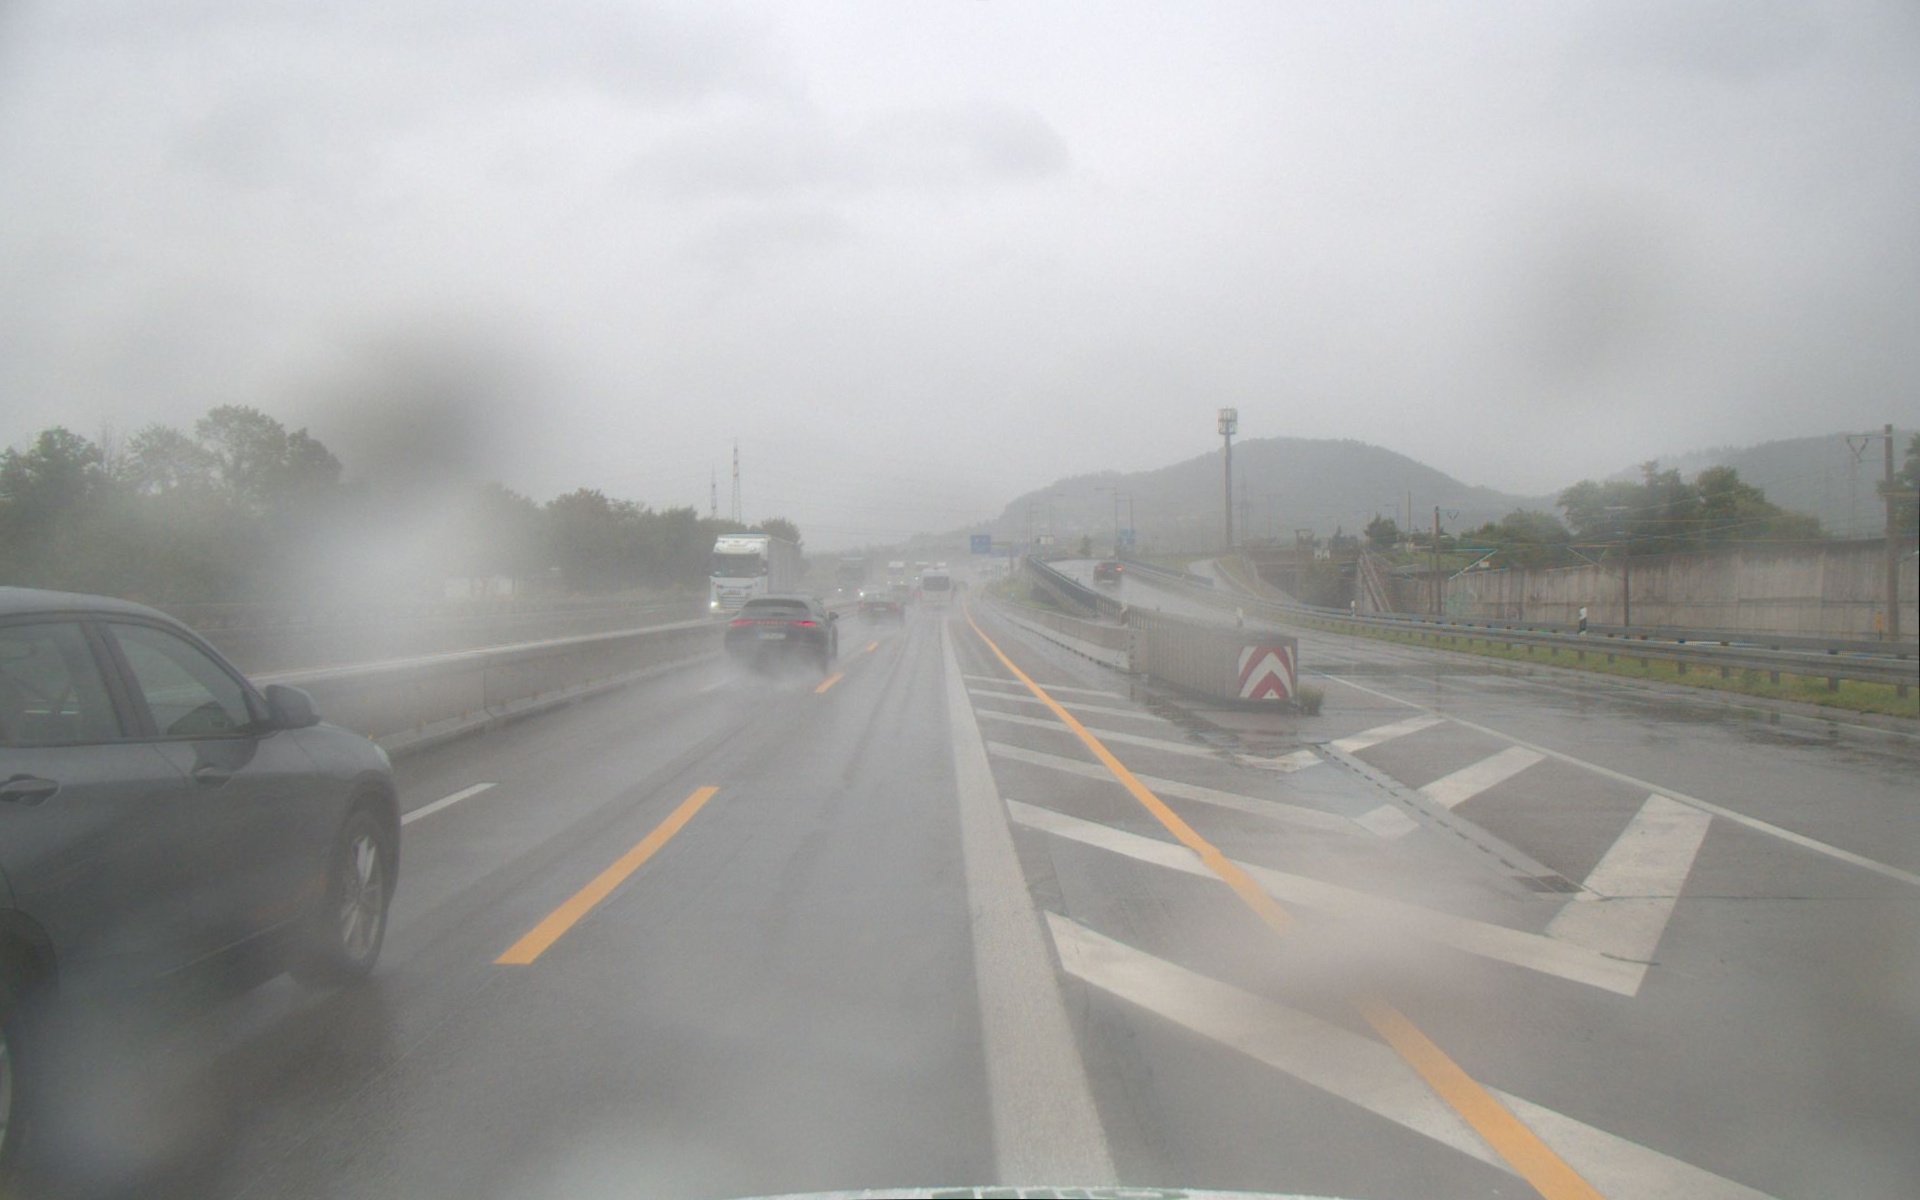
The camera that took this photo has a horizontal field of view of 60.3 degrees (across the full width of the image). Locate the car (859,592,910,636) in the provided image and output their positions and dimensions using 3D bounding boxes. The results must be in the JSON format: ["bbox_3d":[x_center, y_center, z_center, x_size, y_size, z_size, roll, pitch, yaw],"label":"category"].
[{"bbox_3d":[-2.926,0.509,64.644,1.807,1.517,4.261,-2,1,-1],"label":"car"}]

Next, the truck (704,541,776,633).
[{"bbox_3d":[-10.765,-0.601,81.362,2.653,4.352,6.748,1,0,-1],"label":"truck"}]

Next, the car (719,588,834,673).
[{"bbox_3d":[-3.487,0.564,32.071,1.807,1.517,4.260,1,0,-1],"label":"car"}]

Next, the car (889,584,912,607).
[{"bbox_3d":[-4.189,-0.300,116.686,1.535,1.506,2.821,-2,-1,-1],"label":"car"}]

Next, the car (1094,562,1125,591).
[{"bbox_3d":[11.740,-1.841,130.265,1.953,2.180,3.999,1,0,-1],"label":"car"}]

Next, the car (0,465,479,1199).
[{"bbox_3d":[-2.977,0.550,5.019,1.666,1.626,4.844,-2,-1,-1],"label":"car"}]

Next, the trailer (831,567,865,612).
[{"bbox_3d":[-10.920,-0.968,162.234,2.596,4.181,12.313,1,0,0],"label":"trailer"}]

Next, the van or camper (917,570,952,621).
[{"bbox_3d":[-1.450,-0.242,94.859,1.956,2.826,4.048,1,0,-1],"label":"van or camper"}]

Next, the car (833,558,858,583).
[{"bbox_3d":[-13.837,-3.519,199.820,2.655,2.862,5.095,1,0,0],"label":"car"}]
